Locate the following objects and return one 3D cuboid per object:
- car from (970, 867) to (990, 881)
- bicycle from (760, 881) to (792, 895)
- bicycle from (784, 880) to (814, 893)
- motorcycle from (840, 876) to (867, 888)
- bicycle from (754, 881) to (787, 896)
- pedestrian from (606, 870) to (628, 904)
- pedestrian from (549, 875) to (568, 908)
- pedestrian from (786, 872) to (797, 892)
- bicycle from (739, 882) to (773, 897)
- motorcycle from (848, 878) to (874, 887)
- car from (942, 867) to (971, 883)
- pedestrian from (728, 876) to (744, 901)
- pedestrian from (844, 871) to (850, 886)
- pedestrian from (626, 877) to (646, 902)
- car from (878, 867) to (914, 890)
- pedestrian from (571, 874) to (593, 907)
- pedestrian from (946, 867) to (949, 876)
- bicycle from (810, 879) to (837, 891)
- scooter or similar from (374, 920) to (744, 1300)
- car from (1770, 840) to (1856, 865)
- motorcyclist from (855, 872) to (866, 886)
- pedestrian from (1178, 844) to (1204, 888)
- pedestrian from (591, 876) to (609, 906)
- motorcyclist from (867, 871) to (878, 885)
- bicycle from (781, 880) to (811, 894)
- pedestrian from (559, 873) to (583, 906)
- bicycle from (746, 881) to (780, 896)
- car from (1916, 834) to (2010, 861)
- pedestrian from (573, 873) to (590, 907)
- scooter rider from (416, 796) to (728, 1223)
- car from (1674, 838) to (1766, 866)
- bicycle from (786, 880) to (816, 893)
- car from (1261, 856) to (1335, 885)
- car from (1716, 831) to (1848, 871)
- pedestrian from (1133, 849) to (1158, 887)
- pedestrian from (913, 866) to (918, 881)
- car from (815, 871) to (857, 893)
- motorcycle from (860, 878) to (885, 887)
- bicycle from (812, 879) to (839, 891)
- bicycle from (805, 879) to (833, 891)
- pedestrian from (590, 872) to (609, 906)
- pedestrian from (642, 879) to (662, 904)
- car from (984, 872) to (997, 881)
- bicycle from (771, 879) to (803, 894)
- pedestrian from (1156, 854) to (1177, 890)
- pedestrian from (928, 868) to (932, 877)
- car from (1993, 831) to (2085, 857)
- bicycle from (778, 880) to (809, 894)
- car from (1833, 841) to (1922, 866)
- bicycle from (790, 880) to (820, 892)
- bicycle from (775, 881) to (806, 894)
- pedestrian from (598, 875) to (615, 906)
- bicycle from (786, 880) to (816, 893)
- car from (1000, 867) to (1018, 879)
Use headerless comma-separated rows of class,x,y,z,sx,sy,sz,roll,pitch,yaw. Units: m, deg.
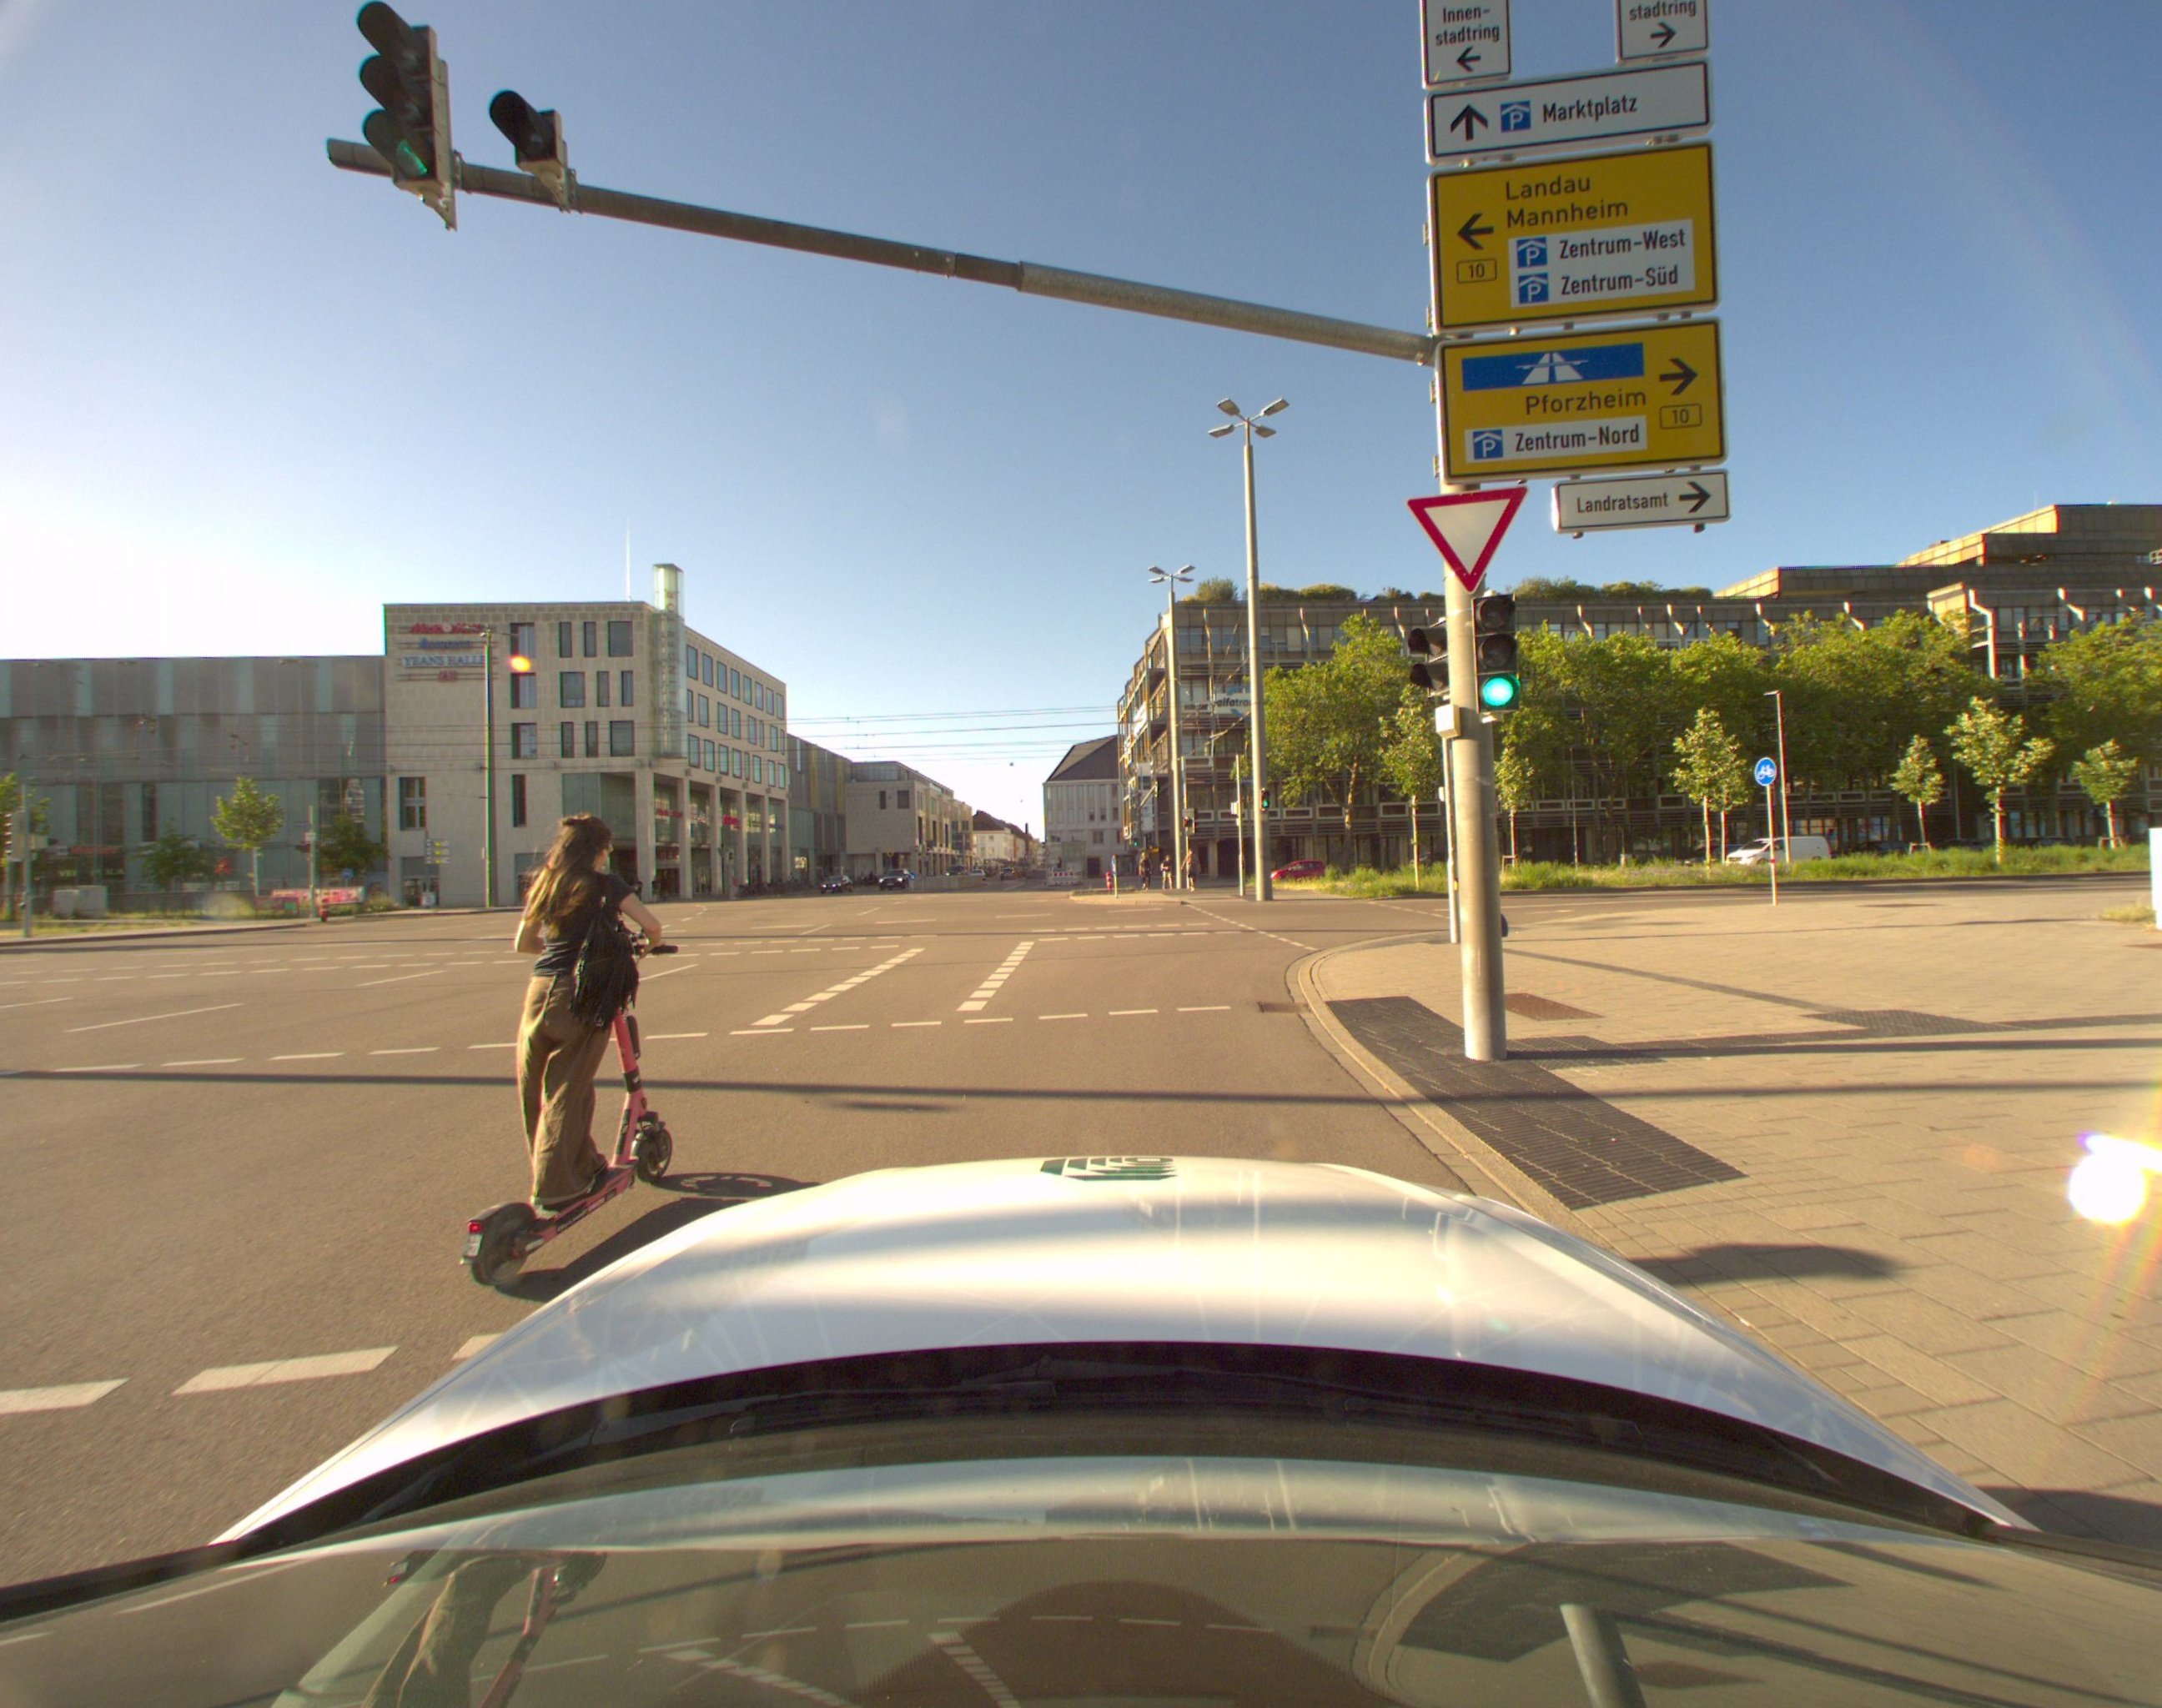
car,-13.646,2.715,110.119,2.168,1.692,5.610,-2,-1,-2
bicycle,-25.454,2.821,67.981,2.457,1.111,0.685,-2,-1,3
bicycle,-25.399,2.947,73.338,2.457,1.111,0.685,-2,-1,3
motorcycle,-24.513,3.032,87.876,2.663,1.217,0.915,0,-1,-5
bicycle,-25.588,2.829,67.177,2.456,1.111,0.685,-2,-1,5
pedestrian,-30.452,2.150,53.452,1.069,2.129,1.085,-1,-1,-39
pedestrian,-34.361,2.443,53.561,0.899,2.124,0.939,-1,-1,-24
pedestrian,-28.738,2.797,80.734,0.949,1.982,1.000,-1,-1,-21
bicycle,-25.742,2.803,64.468,2.393,1.113,0.658,-2,-1,2
motorcycle,-24.348,3.176,90.235,2.663,0.996,0.915,0,-1,-5
car,-13.985,2.360,91.995,2.165,1.692,5.489,-2,-1,2
pedestrian,-24.468,2.466,57.817,0.748,1.740,0.757,-1,-1,0
pedestrian,-31.459,3.341,109.476,0.616,2.014,0.476,0,-1,-12
pedestrian,-29.879,2.375,54.677,1.013,1.651,0.937,-1,-1,-41
car,-14.549,1.924,64.219,1.932,1.677,4.291,-2,-1,-2
pedestrian,-33.145,2.419,54.089,0.895,2.124,0.944,-1,-1,-8
pedestrian,-21.086,2.810,128.531,0.487,1.356,0.563,0,-1,-3
bicycle,-25.511,3.051,80.610,2.457,1.111,0.661,-2,-1,3
scooter or similar,-2.092,0.935,3.528,0.640,1.175,1.483,-1,-1,0
car,49.122,-0.094,54.677,3.974,1.521,2.000,-2,0,-1
motorcyclist,-24.432,2.778,90.225,1.034,1.471,0.915,0,-1,-4
pedestrian,4.476,0.476,33.104,0.854,1.744,0.738,-2,0,-6
pedestrian,-32.861,2.498,55.686,0.921,2.014,1.012,-1,-1,-38
motorcyclist,-23.970,2.798,93.696,1.135,1.575,0.915,0,-1,-4
bicycle,-25.374,2.943,72.560,2.457,1.111,0.685,-2,-1,3
pedestrian,-33.064,2.300,52.798,0.892,2.124,0.947,-2,-1,1
bicycle,-25.699,2.812,65.814,2.457,1.111,0.684,-2,-1,3
car,60.358,-0.438,55.797,4.336,1.633,1.915,-2,-3,-2
pedestrian,-31.889,2.283,51.980,0.901,2.124,0.937,-1,-1,-32
scooter rider,-2.102,0.569,3.532,0.640,1.544,1.117,-1,-1,0
car,42.674,-0.129,54.442,4.847,1.680,1.996,-1,0,-6
bicycle,-25.555,2.965,74.292,2.457,1.111,0.836,-2,-1,3
car,12.778,0.999,48.191,3.855,1.486,1.845,-2,-4,0
car,39.793,-0.154,46.313,5.678,2.014,2.263,-2,-3,-4
pedestrian,2.738,0.569,34.506,0.894,1.549,0.923,-2,1,-4
pedestrian,-22.810,2.668,112.425,0.616,2.014,0.476,0,-1,-12
car,-19.706,2.263,65.689,1.931,1.581,4.295,-2,0,1
motorcycle,-23.992,3.224,93.674,2.663,0.996,0.915,0,-1,-5
bicycle,-25.514,3.069,81.314,2.457,1.111,0.661,-2,-1,3
bicycle,-25.621,3.051,79.733,2.457,1.111,0.836,-2,-1,3
pedestrian,-31.174,2.241,52.692,0.903,2.124,0.936,-1,-1,-40
pedestrian,-28.320,2.477,53.757,0.831,1.571,0.951,-2,-1,45
car,-18.531,4.644,167.071,2.168,1.873,5.612,-2,-1,-1
bicycle,-25.215,2.786,69.765,2.457,1.111,0.685,-2,-1,3
pedestrian,4.723,0.976,45.002,1.009,1.911,1.050,-2,-1,-1
pedestrian,-21.576,2.642,116.709,0.487,1.356,0.563,0,-1,-3
car,65.737,-0.681,55.932,4.253,1.596,1.864,-1,-2,-3
bicycle,-25.393,2.932,71.919,2.457,1.111,0.538,-2,-1,3
car,53.811,-0.060,55.081,4.600,1.557,1.747,-2,0,-5
bicycle,-25.881,3.000,76.391,2.457,1.111,0.836,-2,-1,3
bicycle,-25.426,2.925,71.334,2.457,1.111,0.594,-2,-1,3
pedestrian,-31.724,2.400,54.439,0.919,2.014,1.014,-1,-1,-28
bicycle,-25.849,2.981,75.137,2.457,1.111,0.685,-2,-1,3
car,-9.141,2.394,103.706,1.930,1.450,4.260,-2,-1,-1
